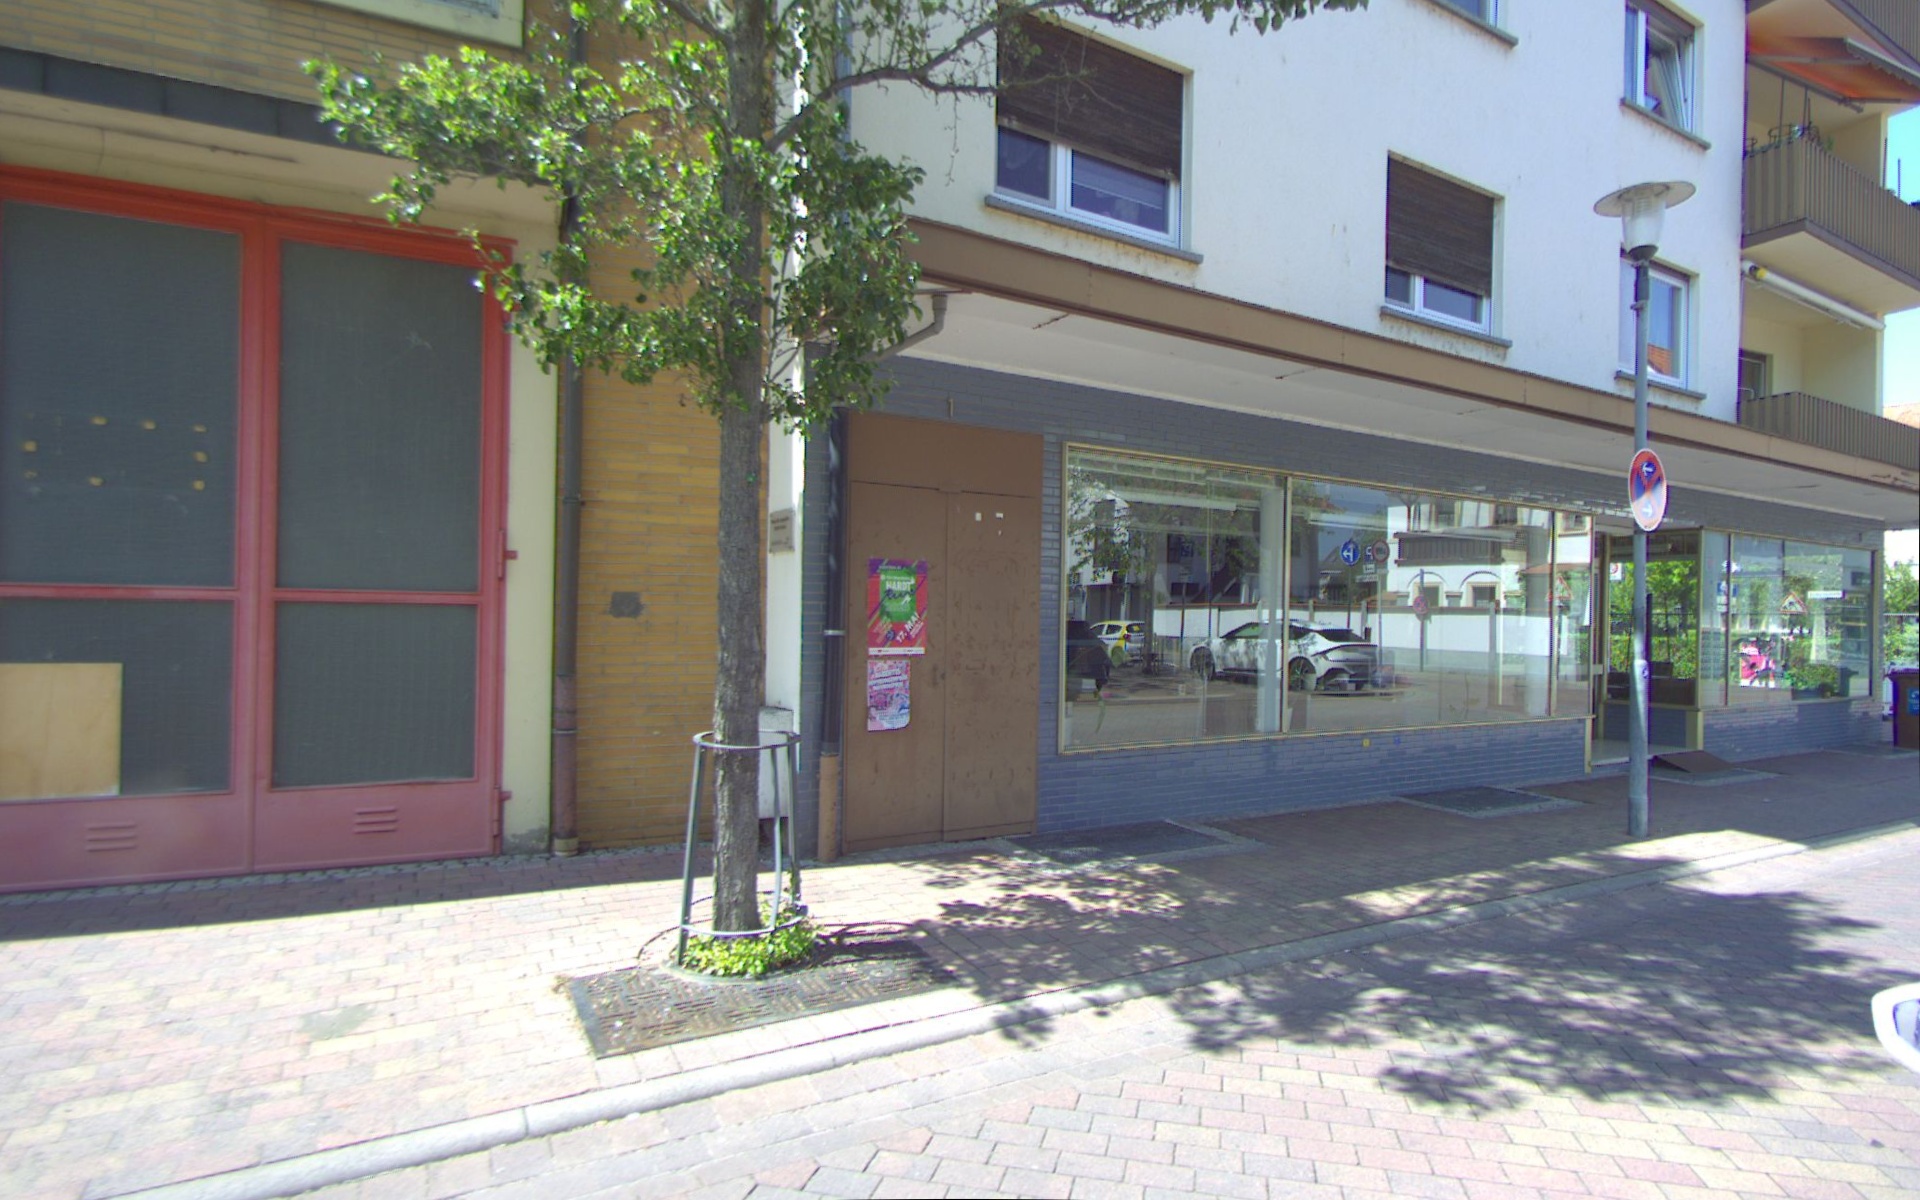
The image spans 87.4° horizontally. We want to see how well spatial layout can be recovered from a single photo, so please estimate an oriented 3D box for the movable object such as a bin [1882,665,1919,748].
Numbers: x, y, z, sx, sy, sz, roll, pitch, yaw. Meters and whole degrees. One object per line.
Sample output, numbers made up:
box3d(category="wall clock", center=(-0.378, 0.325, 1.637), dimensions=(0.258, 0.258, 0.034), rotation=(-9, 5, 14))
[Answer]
box3d(category="movable object such as a bin", center=(13.160, 1.451, 13.759), dimensions=(0.657, 1.084, 0.650), rotation=(2, 0, -36))
